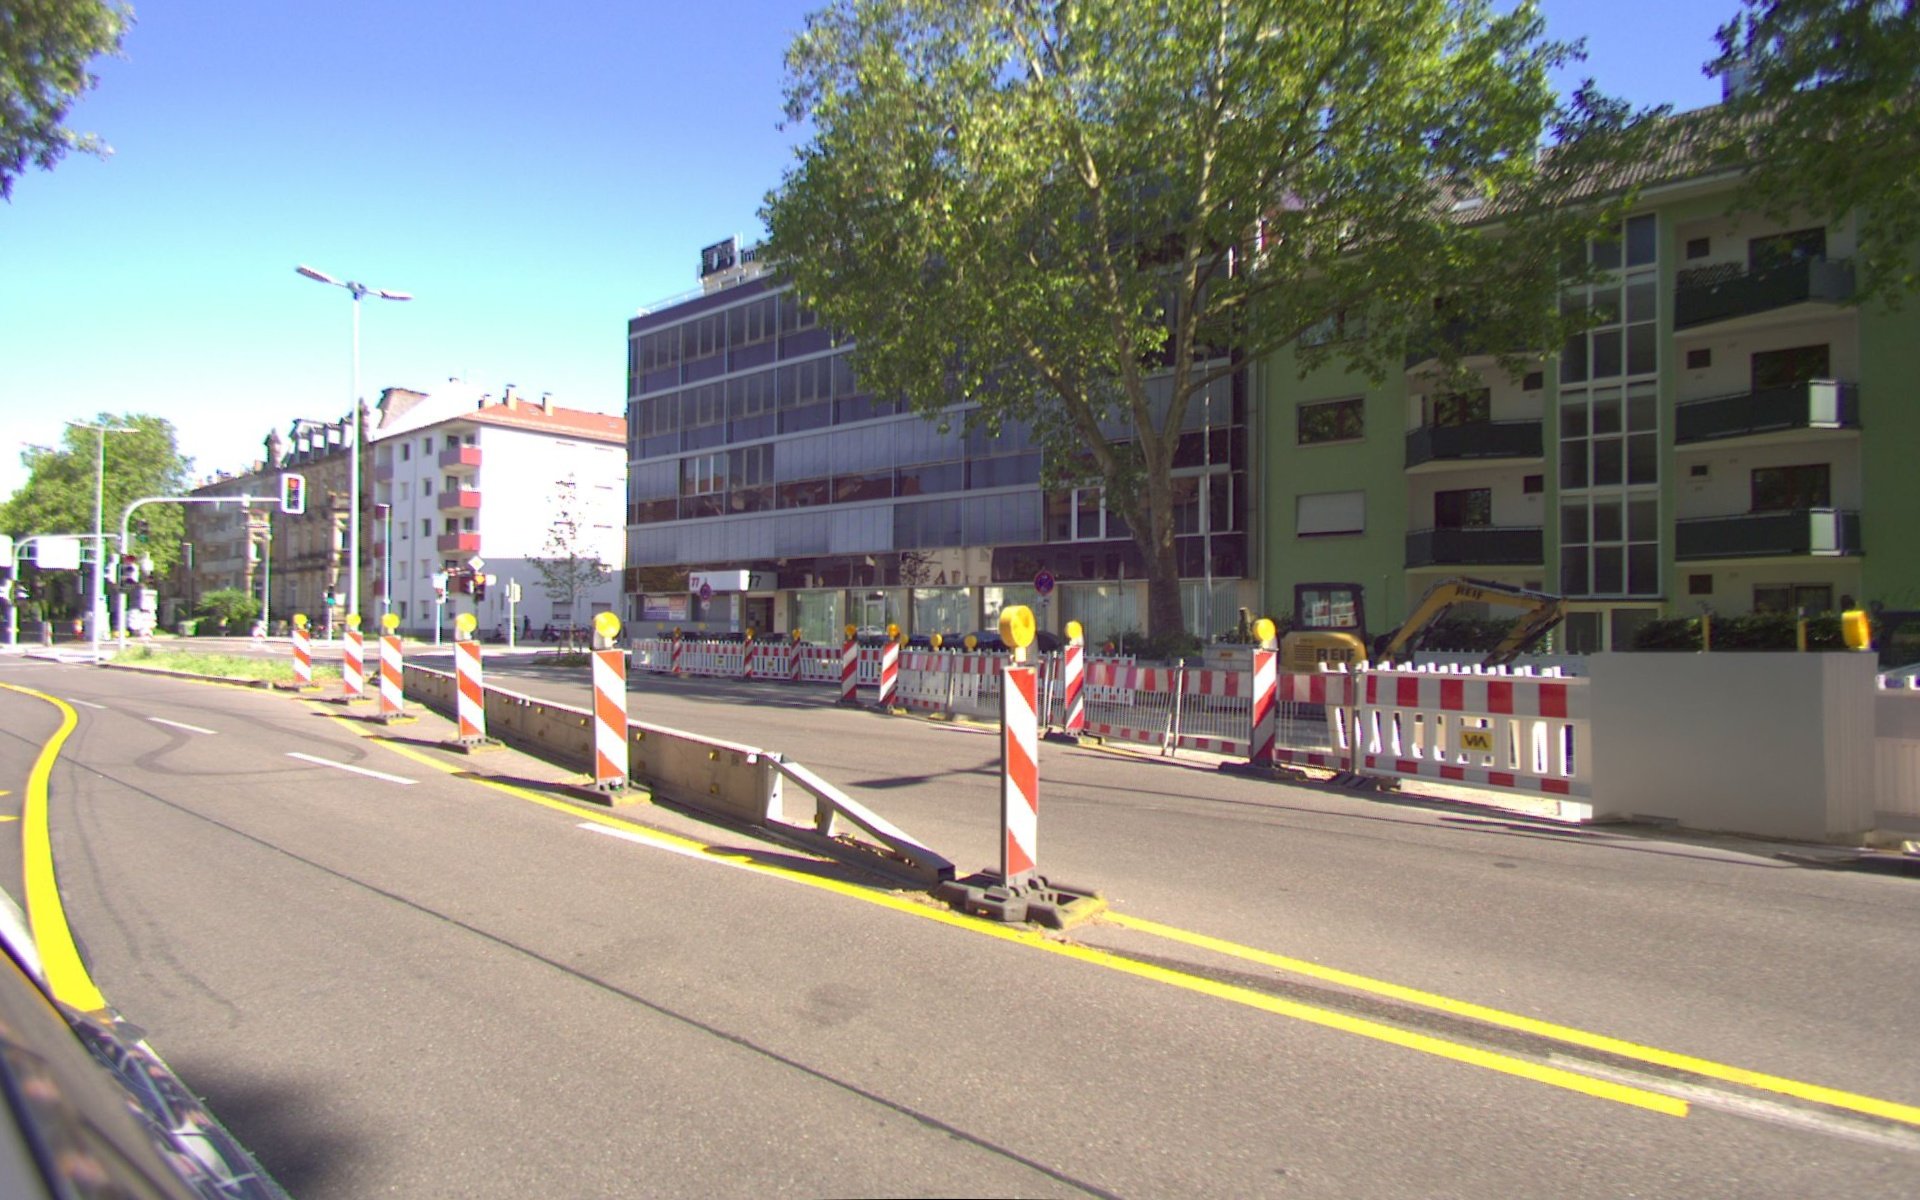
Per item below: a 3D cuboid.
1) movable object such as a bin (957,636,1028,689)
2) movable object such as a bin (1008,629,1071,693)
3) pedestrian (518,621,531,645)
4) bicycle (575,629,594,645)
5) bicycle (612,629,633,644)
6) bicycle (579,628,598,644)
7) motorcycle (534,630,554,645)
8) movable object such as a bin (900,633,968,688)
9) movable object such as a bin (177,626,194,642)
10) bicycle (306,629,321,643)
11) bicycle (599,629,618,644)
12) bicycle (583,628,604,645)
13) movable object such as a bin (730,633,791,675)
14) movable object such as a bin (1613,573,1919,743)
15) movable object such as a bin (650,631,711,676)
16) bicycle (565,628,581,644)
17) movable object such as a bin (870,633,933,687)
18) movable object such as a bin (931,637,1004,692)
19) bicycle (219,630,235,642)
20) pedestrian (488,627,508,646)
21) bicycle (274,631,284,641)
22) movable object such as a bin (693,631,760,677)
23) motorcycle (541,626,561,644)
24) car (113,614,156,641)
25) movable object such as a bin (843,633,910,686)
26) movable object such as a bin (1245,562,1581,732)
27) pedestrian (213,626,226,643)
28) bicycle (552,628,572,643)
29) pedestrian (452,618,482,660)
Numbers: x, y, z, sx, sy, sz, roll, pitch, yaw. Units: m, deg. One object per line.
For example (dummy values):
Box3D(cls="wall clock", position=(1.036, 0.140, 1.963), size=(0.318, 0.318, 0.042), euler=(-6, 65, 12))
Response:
Box3D(cls="movable object such as a bin", position=(0.816, 1.555, 25.588), size=(1.539, 1.280, 0.970), euler=(-1, -2, 40))
Box3D(cls="movable object such as a bin", position=(1.897, 1.424, 24.041), size=(1.251, 1.433, 1.628), euler=(0, -1, 14))
Box3D(cls="pedestrian", position=(-28.492, 2.149, 66.217), size=(0.694, 1.508, 0.593), euler=(-1, -2, 43))
Box3D(cls="bicycle", position=(-23.841, 2.350, 64.210), size=(0.471, 0.955, 1.954), euler=(1, -2, -41))
Box3D(cls="bicycle", position=(-22.166, 2.400, 66.451), size=(1.723, 0.955, 0.453), euler=(-1, -2, 42))
Box3D(cls="bicycle", position=(-24.949, 2.428, 67.936), size=(1.691, 1.066, 0.568), euler=(-2, -2, 45))
Box3D(cls="motorcycle", position=(-25.940, 2.320, 63.120), size=(0.497, 0.943, 1.843), euler=(1, -2, -43))
Box3D(cls="movable object such as a bin", position=(-0.662, 1.522, 25.840), size=(1.068, 1.348, 1.395), euler=(-1, -2, 41))
Box3D(cls="movable object such as a bin", position=(-69.000, 3.038, 90.166), size=(1.473, 1.371, 0.883), euler=(-3, -5, 41))
Box3D(cls="bicycle", position=(-45.997, 2.571, 72.010), size=(1.938, 0.965, 0.301), euler=(-2, -2, 40))
Box3D(cls="bicycle", position=(-22.940, 2.376, 66.025), size=(1.737, 1.011, 0.502), euler=(-2, -2, 45))
Box3D(cls="bicycle", position=(-23.608, 2.354, 65.201), size=(1.736, 1.077, 0.483), euler=(-2, -2, 42))
Box3D(cls="movable object such as a bin", position=(-6.082, 1.625, 30.875), size=(1.241, 1.212, 1.379), euler=(-1, -2, 42))
Box3D(cls="movable object such as a bin", position=(13.081, 0.826, 14.887), size=(5.597, 2.296, 1.972), euler=(-1, -3, 42))
Box3D(cls="movable object such as a bin", position=(-9.242, 1.745, 33.439), size=(1.855, 1.399, 1.102), euler=(-1, -2, 41))
Box3D(cls="bicycle", position=(-24.505, 2.290, 64.041), size=(0.500, 0.985, 1.889), euler=(1, -2, -34))
Box3D(cls="movable object such as a bin", position=(-1.526, 1.554, 26.415), size=(0.935, 1.348, 1.395), euler=(-1, -2, 41))
Box3D(cls="movable object such as a bin", position=(0.177, 1.559, 24.809), size=(1.539, 1.280, 0.970), euler=(-1, -2, 40))
Box3D(cls="bicycle", position=(-61.132, 2.997, 84.410), size=(2.247, 1.013, 0.462), euler=(-2, -1, 38))
Box3D(cls="pedestrian", position=(-27.806, 2.194, 60.915), size=(0.785, 1.162, 0.713), euler=(-1, -2, 27))
Box3D(cls="bicycle", position=(-51.664, 2.725, 76.762), size=(1.413, 0.777, 0.296), euler=(-2, -2, 40))
Box3D(cls="movable object such as a bin", position=(-7.391, 1.675, 32.017), size=(1.855, 1.399, 1.202), euler=(-1, -2, 41))
Box3D(cls="motorcycle", position=(-26.151, 2.241, 64.704), size=(0.604, 1.150, 1.786), euler=(1, -2, -41))
Box3D(cls="car", position=(-79.828, 2.703, 97.859), size=(5.283, 2.465, 2.221), euler=(-3, -5, 40))
Box3D(cls="movable object such as a bin", position=(-2.239, 1.586, 27.257), size=(1.156, 1.348, 1.395), euler=(-1, -2, 42))
Box3D(cls="movable object such as a bin", position=(8.272, 0.810, 18.764), size=(5.345, 2.727, 2.127), euler=(-1, -2, 37))
Box3D(cls="pedestrian", position=(-61.480, 2.896, 84.045), size=(1.088, 1.388, 0.561), euler=(0, -2, 38))
Box3D(cls="bicycle", position=(-26.130, 2.353, 66.506), size=(1.737, 0.976, 0.568), euler=(-2, -2, 45))
Box3D(cls="pedestrian", position=(-20.607, 1.638, 42.272), size=(0.854, 1.724, 1.013), euler=(1, -2, -43))
